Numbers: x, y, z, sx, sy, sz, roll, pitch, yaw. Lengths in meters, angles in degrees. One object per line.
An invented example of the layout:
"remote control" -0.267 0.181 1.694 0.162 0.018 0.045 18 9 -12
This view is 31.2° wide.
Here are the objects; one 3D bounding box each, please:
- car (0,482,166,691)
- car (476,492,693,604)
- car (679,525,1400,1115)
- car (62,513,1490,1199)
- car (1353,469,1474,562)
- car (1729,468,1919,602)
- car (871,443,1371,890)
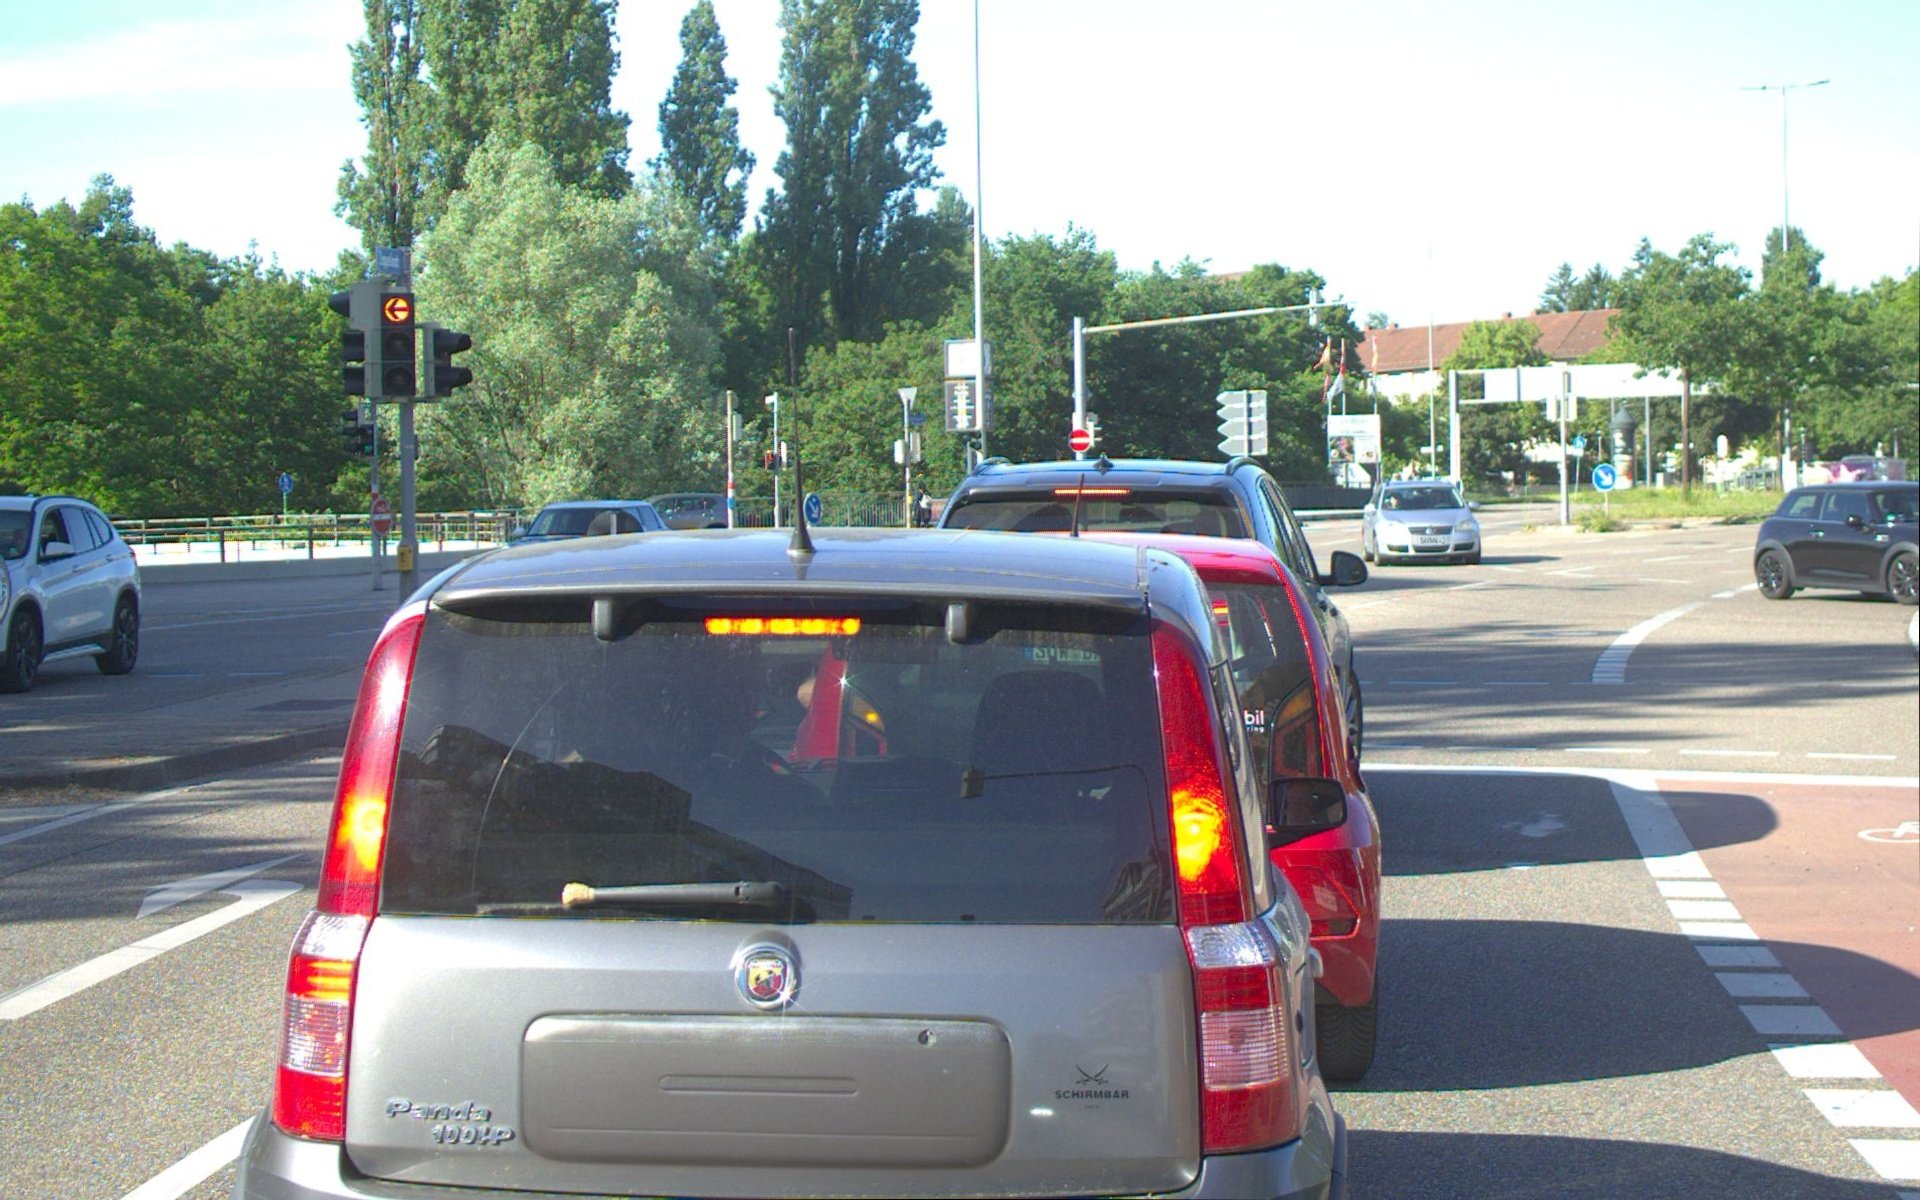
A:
"car" -8.392 -0.160 29.569 1.834 1.647 4.629 -1 2 2
"car" -5.187 -0.753 47.936 1.687 1.451 3.911 0 2 15
"car" 0.280 0.515 10.774 1.820 1.474 4.000 1 1 2
"car" -0.147 0.611 6.418 1.820 1.484 4.000 2 2 3
"car" 7.778 -1.482 59.263 1.751 1.488 4.349 0 3 3
"car" 11.175 -0.735 40.851 1.993 1.448 4.001 1 -1 -24
"car" 0.901 0.190 16.148 1.869 1.784 4.413 1 2 9
